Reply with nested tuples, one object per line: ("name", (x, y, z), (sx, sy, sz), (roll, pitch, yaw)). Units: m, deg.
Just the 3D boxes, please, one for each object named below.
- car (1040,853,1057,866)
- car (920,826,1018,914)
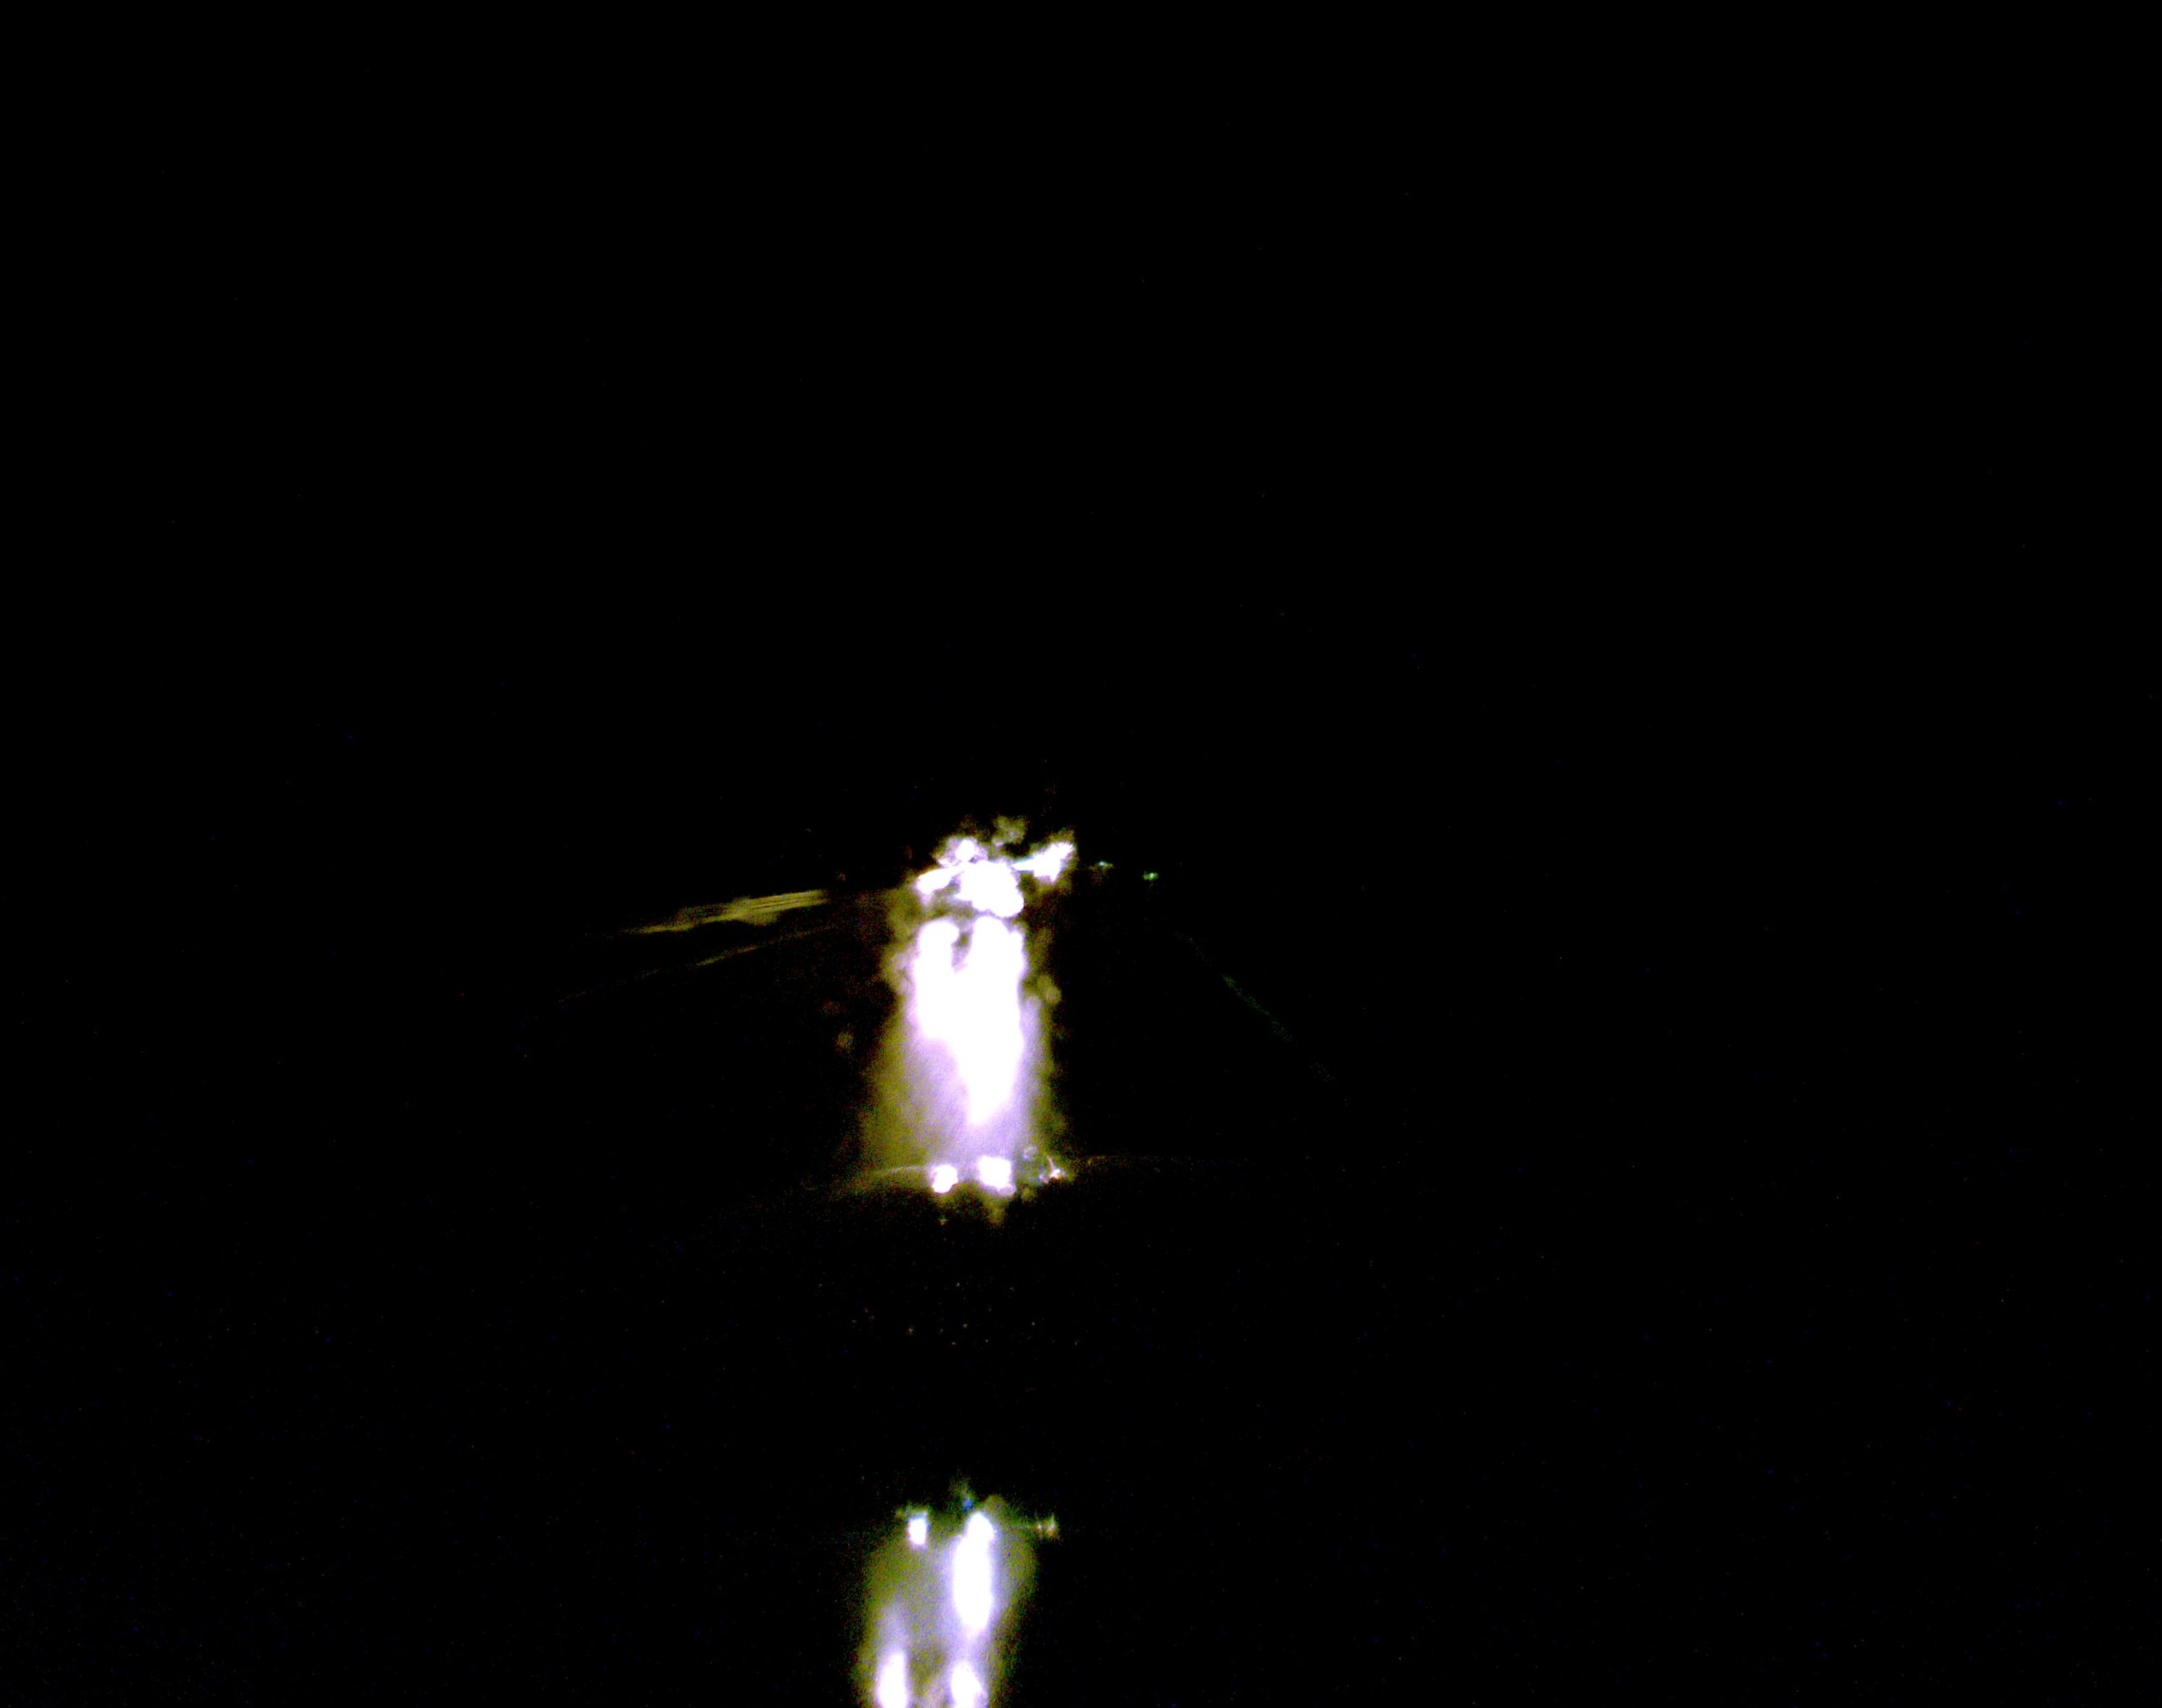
("car", (-3.873, 0.638, 98.259), (1.920, 1.574, 4.346), (-1, 0, 0))
("car", (-3.152, 0.386, 24.016), (1.986, 2.272, 5.468), (-1, 0, 1))
